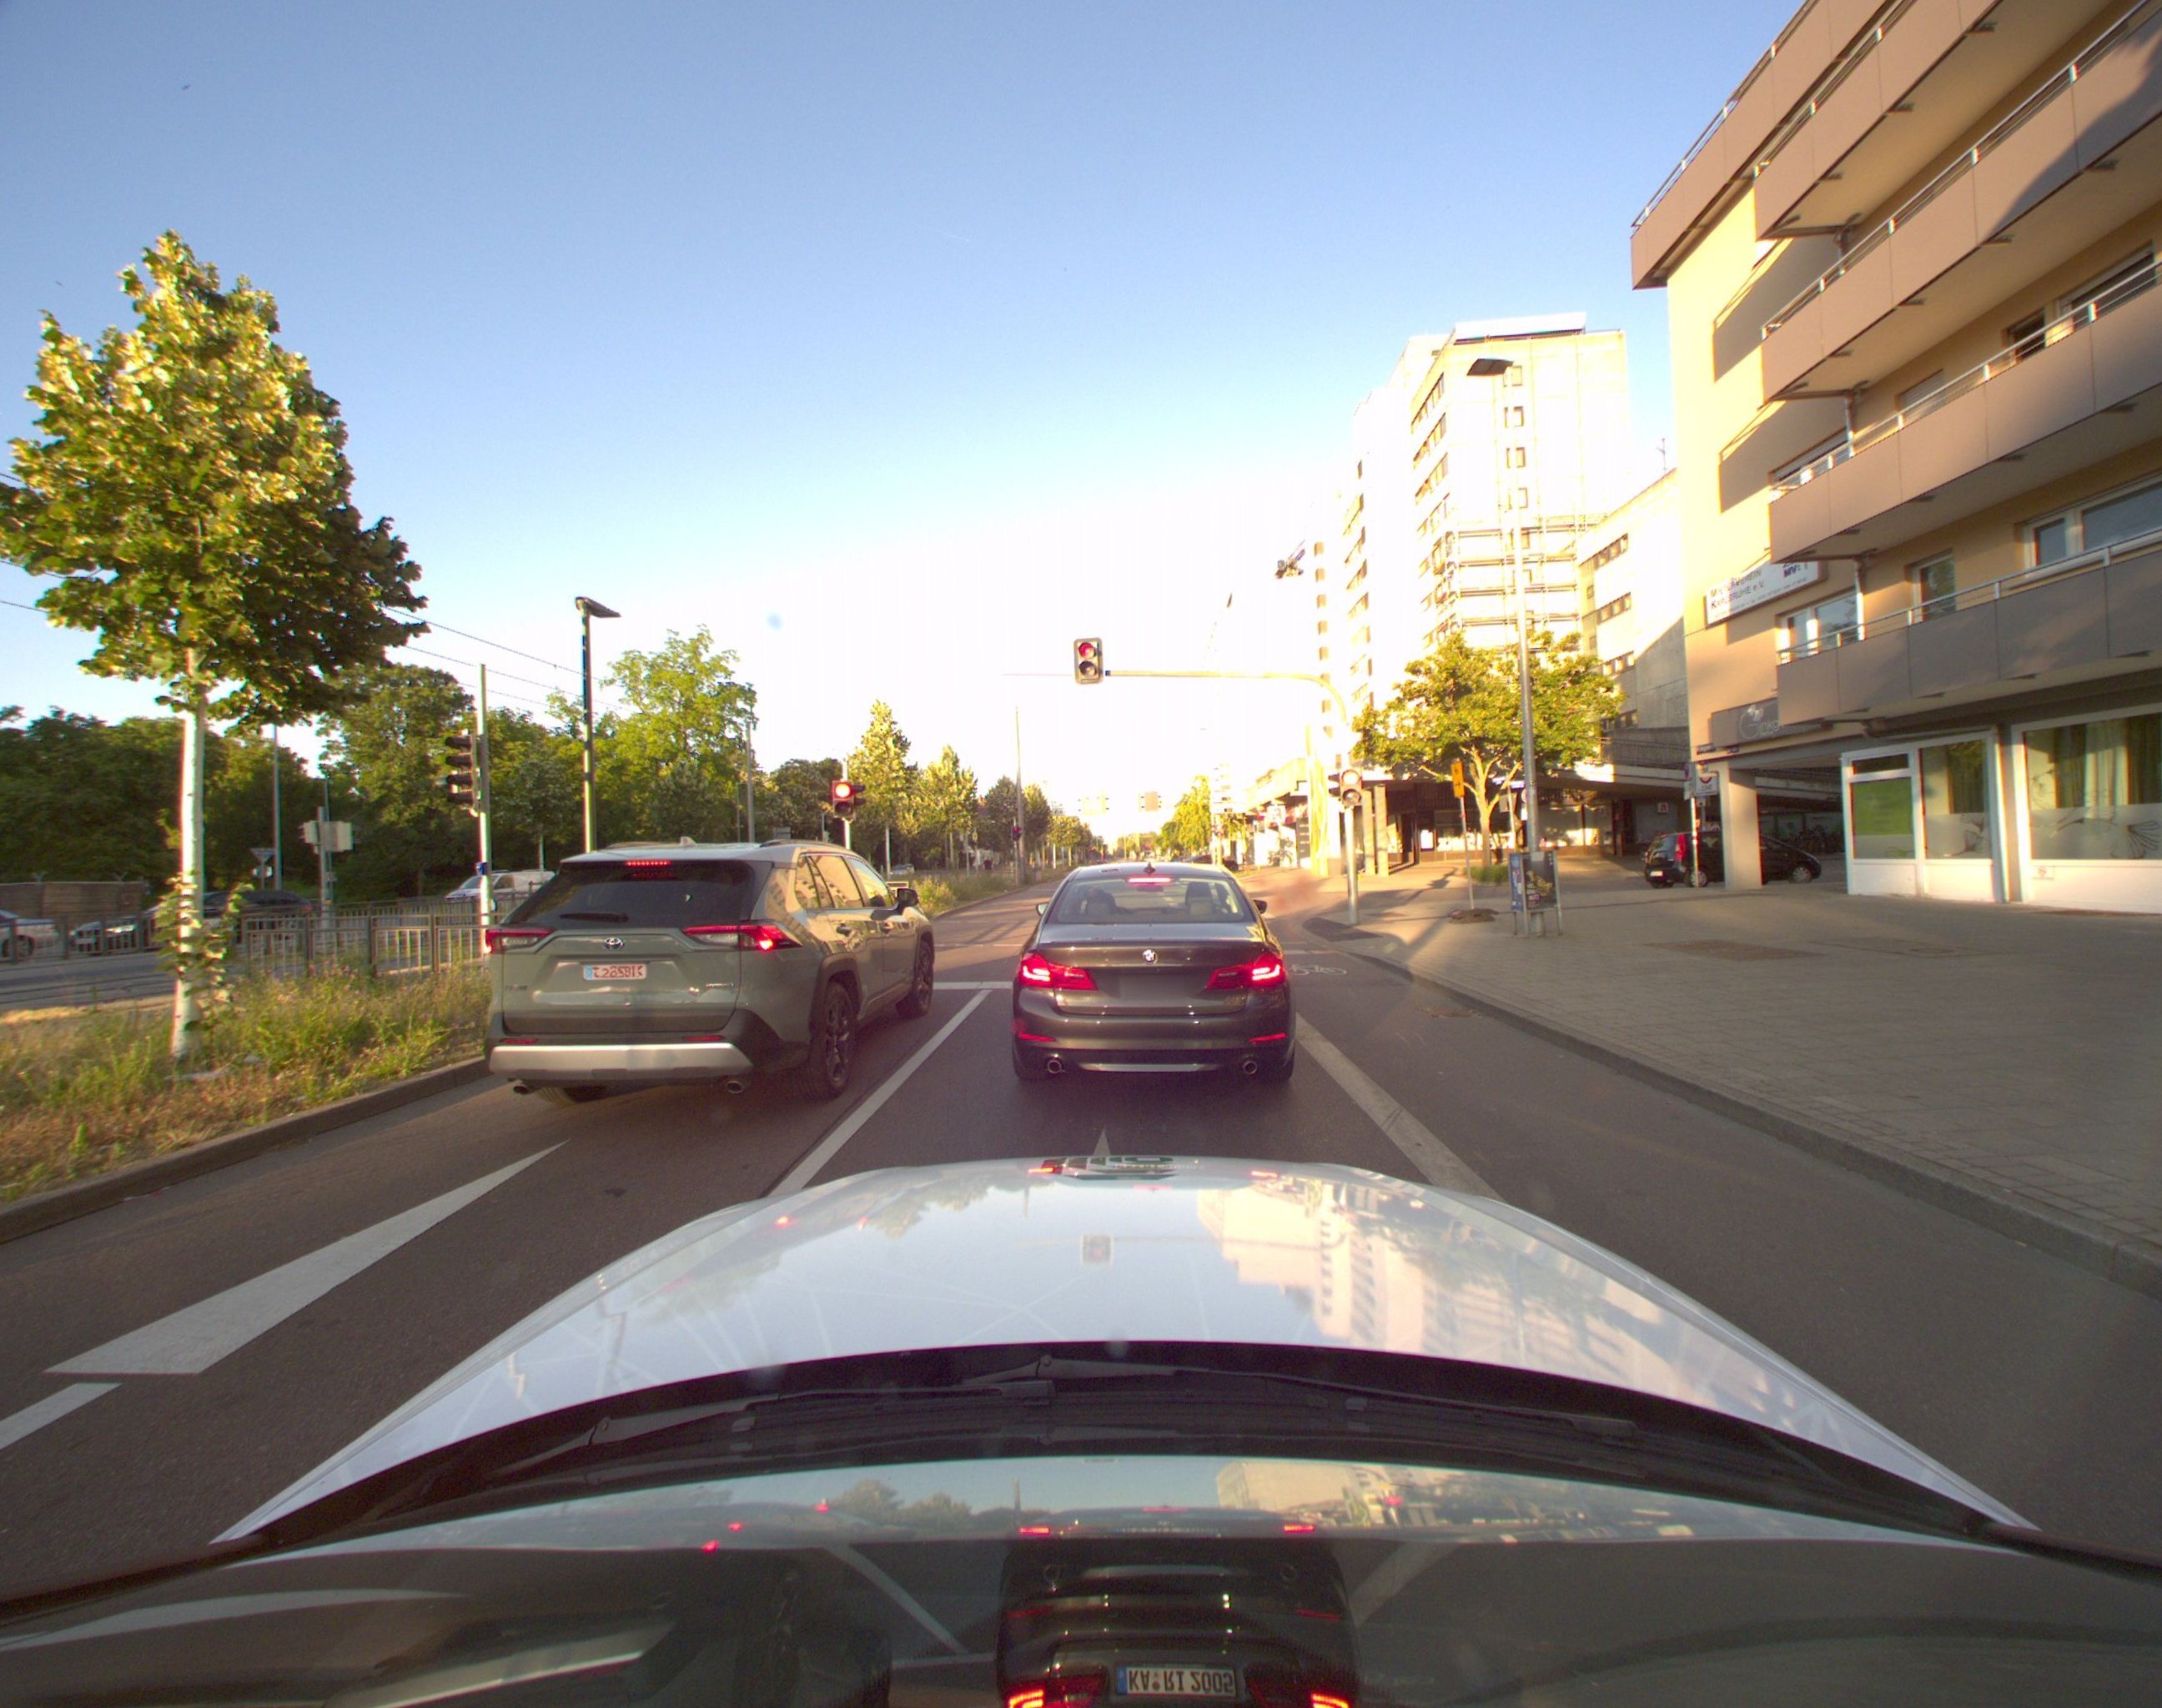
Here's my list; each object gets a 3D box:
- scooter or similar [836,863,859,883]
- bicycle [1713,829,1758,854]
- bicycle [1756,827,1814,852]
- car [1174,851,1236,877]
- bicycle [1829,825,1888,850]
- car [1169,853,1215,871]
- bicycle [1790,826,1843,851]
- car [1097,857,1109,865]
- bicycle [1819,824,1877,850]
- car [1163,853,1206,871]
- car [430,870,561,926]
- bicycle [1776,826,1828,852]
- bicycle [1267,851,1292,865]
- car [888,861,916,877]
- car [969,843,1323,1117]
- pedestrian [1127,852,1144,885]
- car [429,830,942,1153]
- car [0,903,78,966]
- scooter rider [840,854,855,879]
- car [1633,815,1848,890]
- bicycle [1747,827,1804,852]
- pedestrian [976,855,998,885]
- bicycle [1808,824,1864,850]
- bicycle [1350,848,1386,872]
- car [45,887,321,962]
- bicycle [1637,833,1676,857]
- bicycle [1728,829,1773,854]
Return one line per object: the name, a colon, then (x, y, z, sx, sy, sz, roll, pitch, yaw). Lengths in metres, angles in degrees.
scooter or similar: (-14.321, 1.162, 49.972, 1.333, 1.153, 0.510, -2, -1, -20)
bicycle: (29.743, -0.571, 37.051, 0.578, 1.075, 1.980, 1, -1, 5)
bicycle: (32.294, -0.653, 37.397, 0.583, 1.075, 1.963, 1, -1, -21)
car: (8.629, 0.638, 56.493, 4.291, 1.658, 1.839, -2, 1, -40)
bicycle: (35.283, -0.731, 36.983, 0.580, 1.075, 1.971, 1, -1, -9)
car: (10.744, 0.760, 78.924, 4.285, 1.658, 1.841, -2, 1, -34)
bicycle: (33.451, -0.704, 37.082, 0.579, 1.075, 1.976, 1, -1, -1)
car: (3.968, 1.238, 147.076, 1.971, 1.433, 4.846, -1, 1, 2)
bicycle: (34.655, -0.754, 36.827, 0.580, 1.075, 1.971, 1, -1, -9)
car: (10.805, 0.815, 85.075, 4.284, 1.658, 1.841, -2, 1, -33)
car: (-26.099, 1.889, 36.553, 1.982, 2.168, 4.762, -1, 1, 8)
bicycle: (32.892, -0.669, 37.180, 0.579, 1.075, 1.976, 1, -1, -1)
bicycle: (16.760, 0.373, 68.738, 2.005, 1.149, 0.692, 0, -1, 8)
car: (-18.073, 1.517, 82.542, 1.792, 1.481, 3.786, -2, 0, 3)
car: (0.513, 0.677, 6.756, 1.923, 1.481, 4.528, -1, 1, 4)
pedestrian: (2.881, 0.757, 43.041, 0.832, 1.712, 0.648, -2, -1, 1)
car: (-2.432, 0.687, 6.398, 1.848, 1.658, 4.269, -1, 1, 1)
car: (-28.191, 2.110, 19.736, 1.985, 1.481, 4.527, -1, 1, 4)
scooter rider: (-14.342, 0.755, 50.007, 0.823, 1.514, 0.648, -2, -1, -20)
car: (17.171, 0.001, 21.386, 4.020, 1.585, 1.708, -4, -4, 6)
bicycle: (31.817, -0.637, 37.340, 0.582, 1.075, 1.966, 1, -1, -17)
pedestrian: (-5.097, 0.866, 43.972, 0.816, 1.586, 0.828, -2, -1, -37)
bicycle: (34.040, -0.754, 36.758, 0.579, 1.075, 1.974, 1, -1, -4)
bicycle: (14.478, 0.308, 41.146, 0.690, 1.149, 2.012, 1, -1, -16)
car: (-23.086, 1.742, 21.277, 1.985, 1.481, 4.527, -1, 1, 4)
bicycle: (26.976, -0.393, 38.227, 0.578, 1.075, 1.980, 1, -1, 5)
bicycle: (30.289, -0.554, 36.878, 0.578, 1.075, 1.980, 1, -1, 5)
